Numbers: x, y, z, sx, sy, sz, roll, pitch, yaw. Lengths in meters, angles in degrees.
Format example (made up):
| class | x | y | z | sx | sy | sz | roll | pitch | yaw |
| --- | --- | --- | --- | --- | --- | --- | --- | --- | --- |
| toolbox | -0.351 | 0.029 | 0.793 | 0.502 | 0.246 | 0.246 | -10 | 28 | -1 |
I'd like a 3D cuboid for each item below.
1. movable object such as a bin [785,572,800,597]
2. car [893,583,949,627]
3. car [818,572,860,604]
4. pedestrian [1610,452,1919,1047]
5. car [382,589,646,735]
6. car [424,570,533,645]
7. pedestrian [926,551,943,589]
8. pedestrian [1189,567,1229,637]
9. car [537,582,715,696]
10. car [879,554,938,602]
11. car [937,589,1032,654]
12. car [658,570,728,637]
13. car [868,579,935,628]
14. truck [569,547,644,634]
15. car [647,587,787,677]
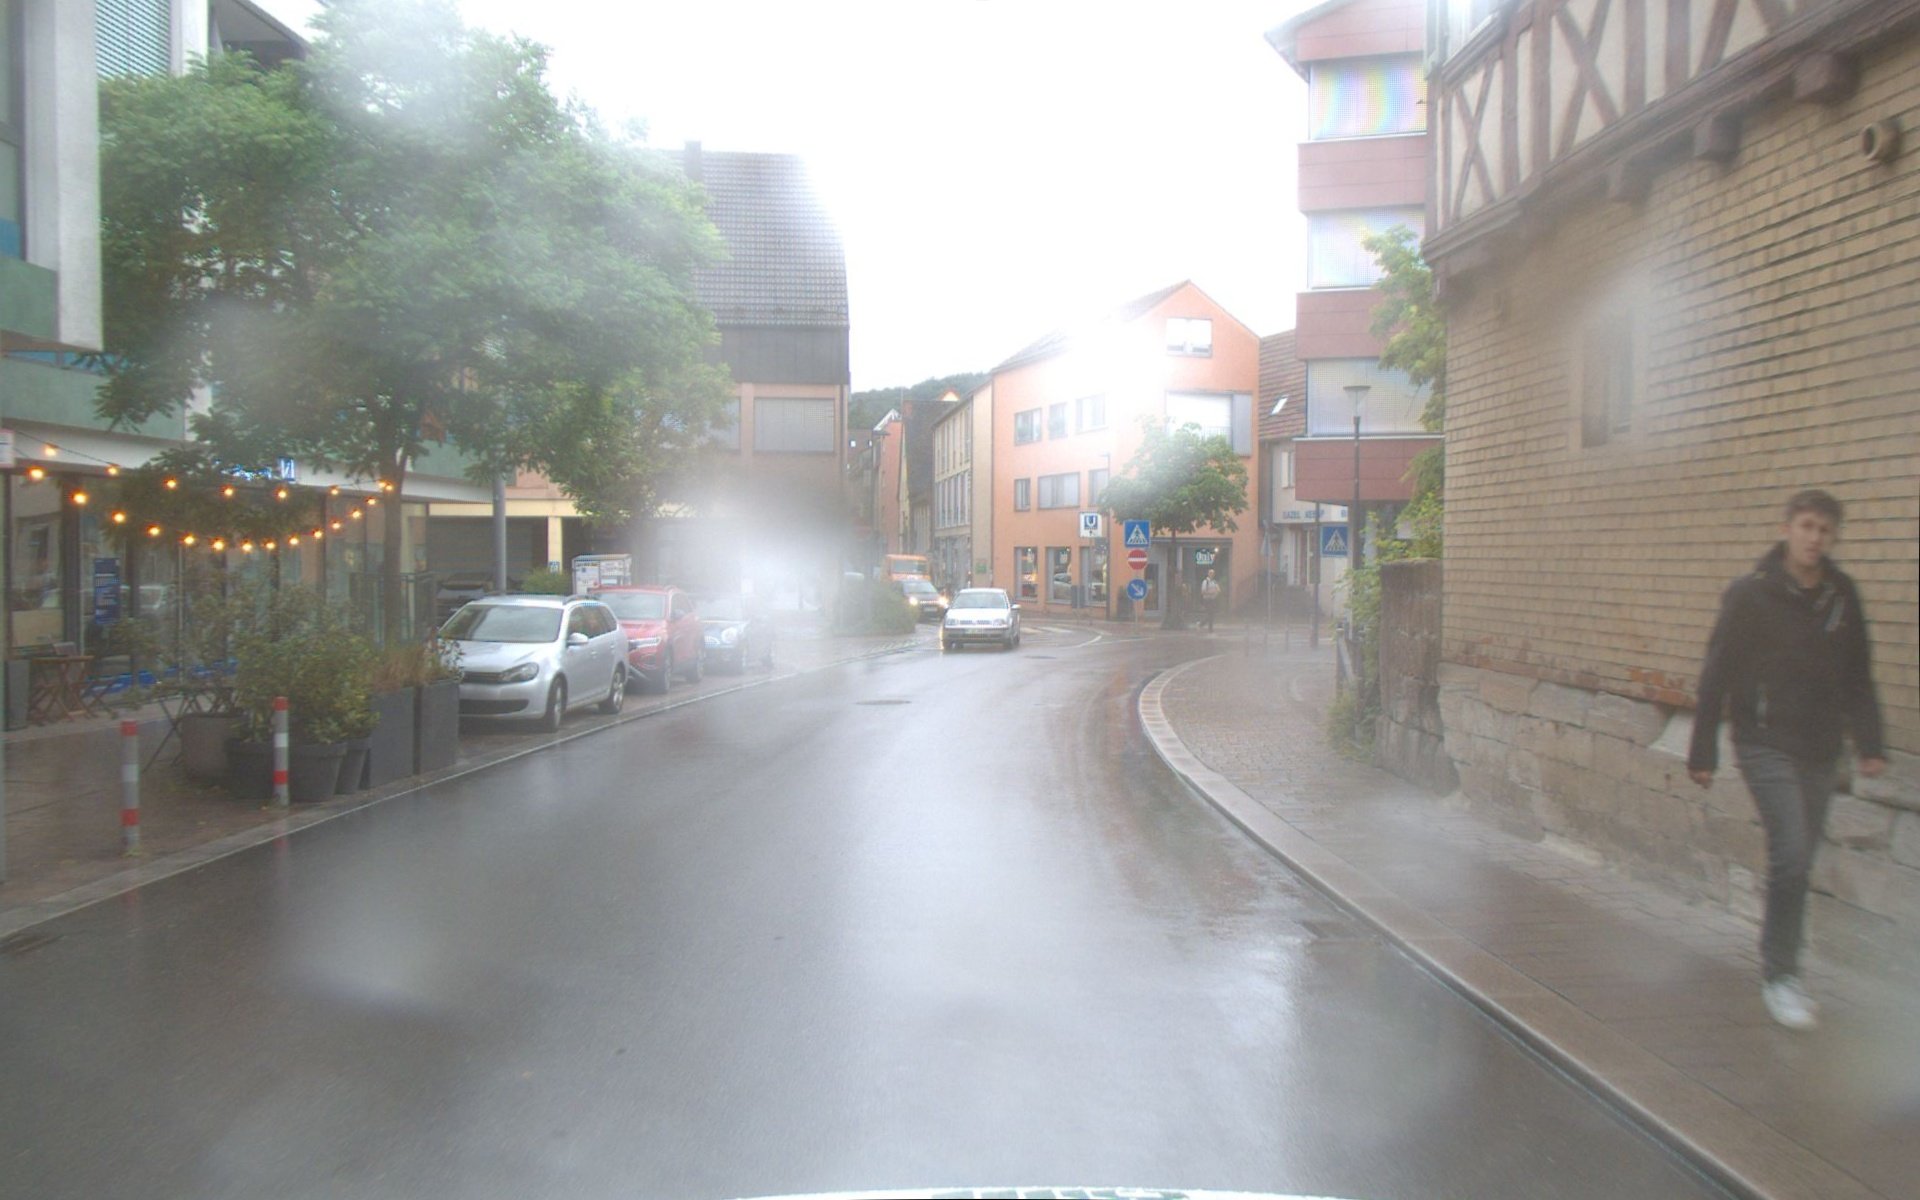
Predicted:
| class | x | y | z | sx | sy | sz | roll | pitch | yaw |
| --- | --- | --- | --- | --- | --- | --- | --- | --- | --- |
| movable object such as a bin | -9.812 | -0.907 | 96.989 | 0.819 | 1.406 | 0.852 | 0 | 1 | -12 |
| car | -1.439 | 0.152 | 60.305 | 1.617 | 1.471 | 3.977 | -1 | 1 | -7 |
| car | -5.829 | -0.616 | 79.103 | 1.955 | 1.466 | 4.160 | 0 | 1 | -5 |
| pedestrian | 2.917 | 0.476 | 5.853 | 0.794 | 1.918 | 0.907 | -2 | 1 | -4 |
| car | -5.124 | 0.639 | 19.665 | 1.749 | 1.525 | 4.456 | -1 | 0 | 2 |
| car | -12.900 | 0.168 | 44.524 | 1.775 | 1.645 | 4.002 | 0 | 5 | -1 |
| pedestrian | -1.417 | -1.667 | 91.781 | 0.851 | 2.049 | 0.706 | 0 | 1 | -11 |
| pedestrian | 7.083 | 0.044 | 47.059 | 0.849 | 1.948 | 0.753 | 1 | 1 | 44 |
| car | -5.051 | 0.544 | 25.579 | 1.749 | 1.604 | 4.108 | -1 | 0 | 2 |
| car | -2.509 | -1.038 | 79.795 | 2.066 | 2.184 | 4.855 | -2 | 1 | -11 |
| car | 0.549 | 0.489 | 40.918 | 1.756 | 1.442 | 4.022 | -2 | 1 | -7 |
| car | -7.390 | 0.065 | 46.047 | 1.546 | 1.504 | 3.823 | 0 | 5 | -4 |
| car | -1.950 | 0.083 | 53.767 | 1.683 | 1.483 | 3.902 | 1 | 1 | -9 |
| truck | -9.743 | -0.303 | 45.796 | 1.566 | 2.097 | 3.191 | -2 | 5 | -5 |
| car | -4.417 | 0.542 | 30.580 | 1.678 | 1.483 | 3.913 | 1 | 1 | 5 |
